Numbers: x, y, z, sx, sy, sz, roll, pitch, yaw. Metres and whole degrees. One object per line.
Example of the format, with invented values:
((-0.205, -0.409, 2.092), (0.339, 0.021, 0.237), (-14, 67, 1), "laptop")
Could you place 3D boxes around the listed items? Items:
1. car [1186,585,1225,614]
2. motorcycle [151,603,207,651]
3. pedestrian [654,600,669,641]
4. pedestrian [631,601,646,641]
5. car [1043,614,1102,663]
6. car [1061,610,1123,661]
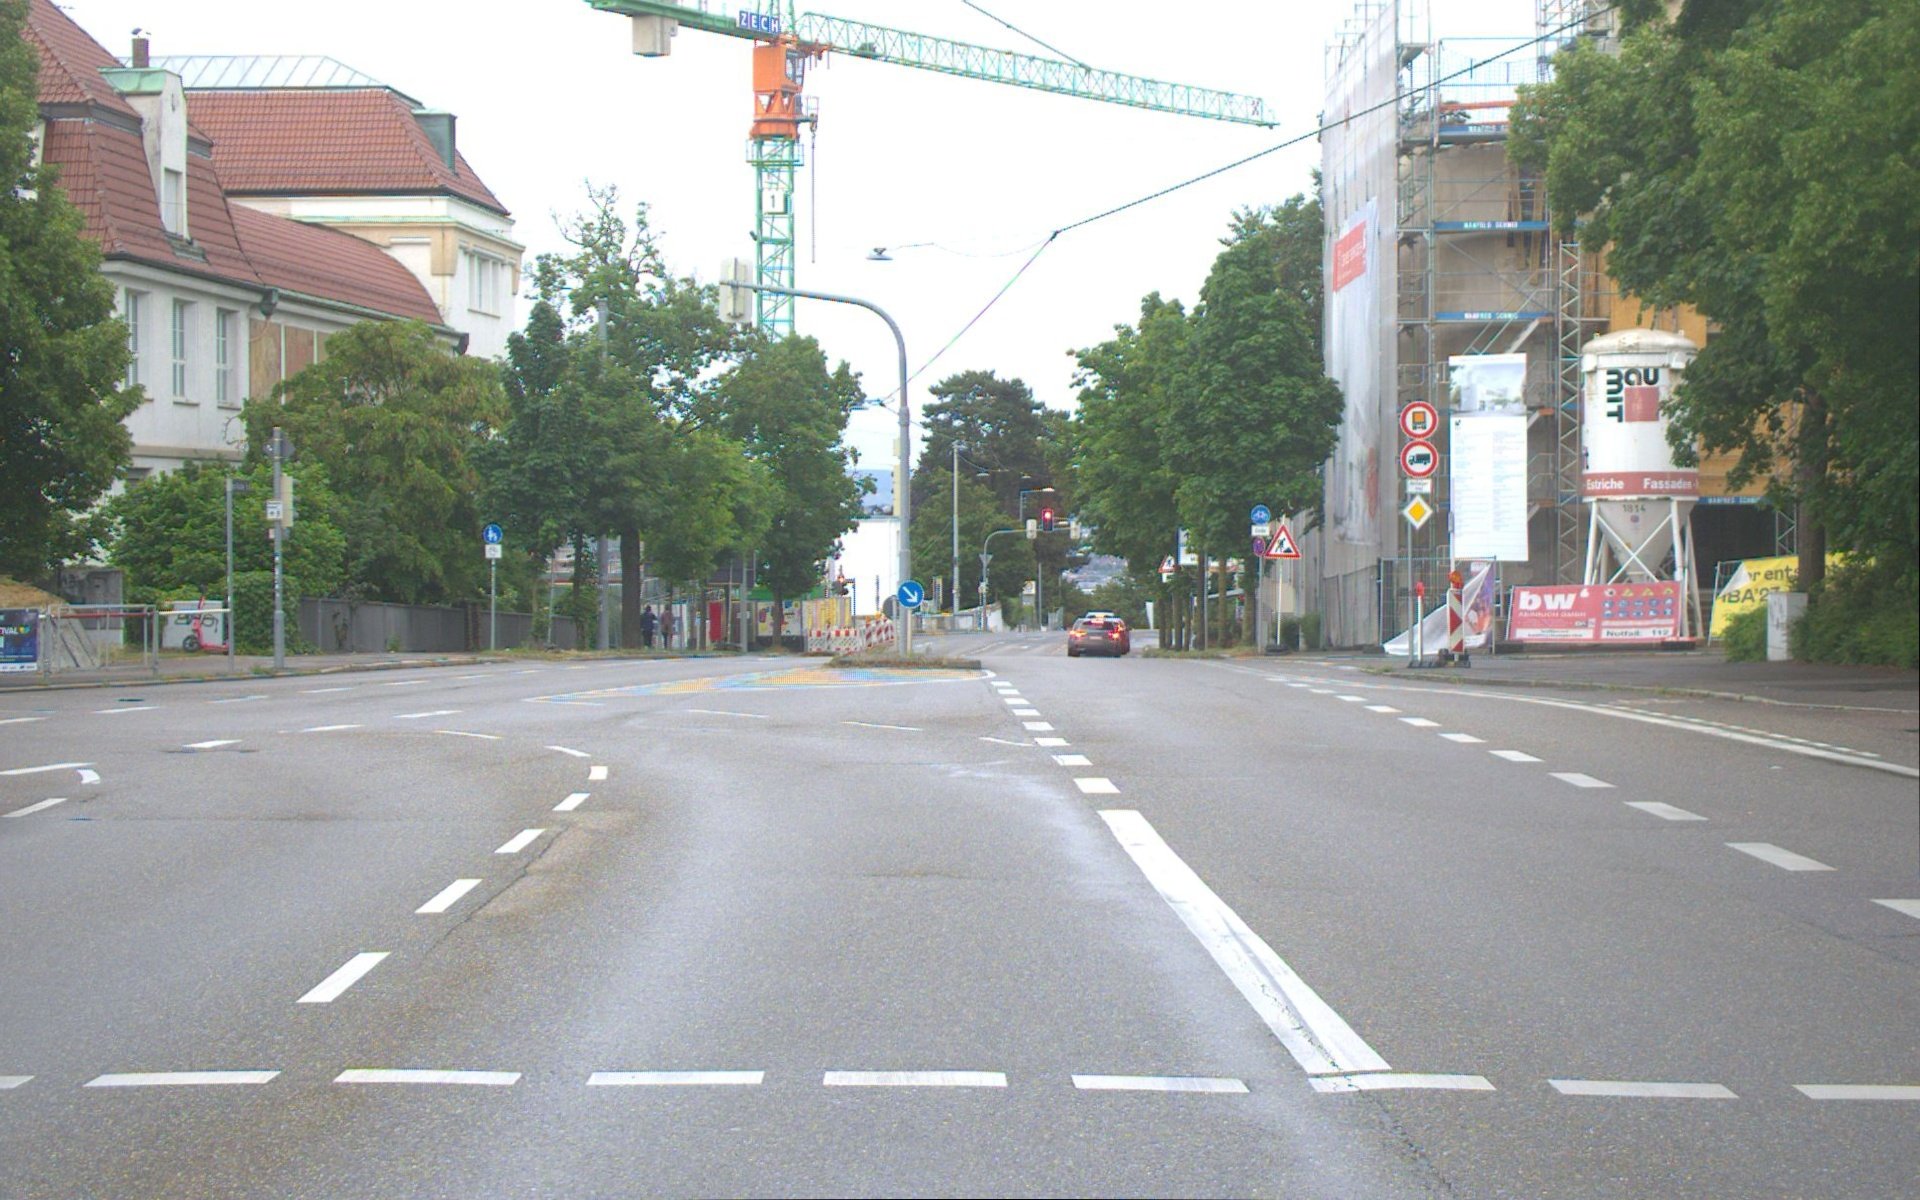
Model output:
((15.663, -0.042, 219.333), (1.994, 1.744, 3.998), (-1, 1, 11), "car")
((-14.658, 0.499, 64.557), (0.849, 0.874, 0.877), (1, 0, -1), "motorcycle")
((-10.311, 0.700, 118.657), (0.474, 1.391, 0.411), (0, 1, -1), "pedestrian")
((-11.105, 0.725, 118.780), (0.474, 1.391, 0.411), (-1, 1, -1), "pedestrian")
((4.249, 1.452, 130.128), (1.993, 1.744, 4.000), (-1, 1, -1), "car")
((4.778, 1.271, 124.822), (1.993, 1.744, 4.000), (-1, 1, -1), "car")
